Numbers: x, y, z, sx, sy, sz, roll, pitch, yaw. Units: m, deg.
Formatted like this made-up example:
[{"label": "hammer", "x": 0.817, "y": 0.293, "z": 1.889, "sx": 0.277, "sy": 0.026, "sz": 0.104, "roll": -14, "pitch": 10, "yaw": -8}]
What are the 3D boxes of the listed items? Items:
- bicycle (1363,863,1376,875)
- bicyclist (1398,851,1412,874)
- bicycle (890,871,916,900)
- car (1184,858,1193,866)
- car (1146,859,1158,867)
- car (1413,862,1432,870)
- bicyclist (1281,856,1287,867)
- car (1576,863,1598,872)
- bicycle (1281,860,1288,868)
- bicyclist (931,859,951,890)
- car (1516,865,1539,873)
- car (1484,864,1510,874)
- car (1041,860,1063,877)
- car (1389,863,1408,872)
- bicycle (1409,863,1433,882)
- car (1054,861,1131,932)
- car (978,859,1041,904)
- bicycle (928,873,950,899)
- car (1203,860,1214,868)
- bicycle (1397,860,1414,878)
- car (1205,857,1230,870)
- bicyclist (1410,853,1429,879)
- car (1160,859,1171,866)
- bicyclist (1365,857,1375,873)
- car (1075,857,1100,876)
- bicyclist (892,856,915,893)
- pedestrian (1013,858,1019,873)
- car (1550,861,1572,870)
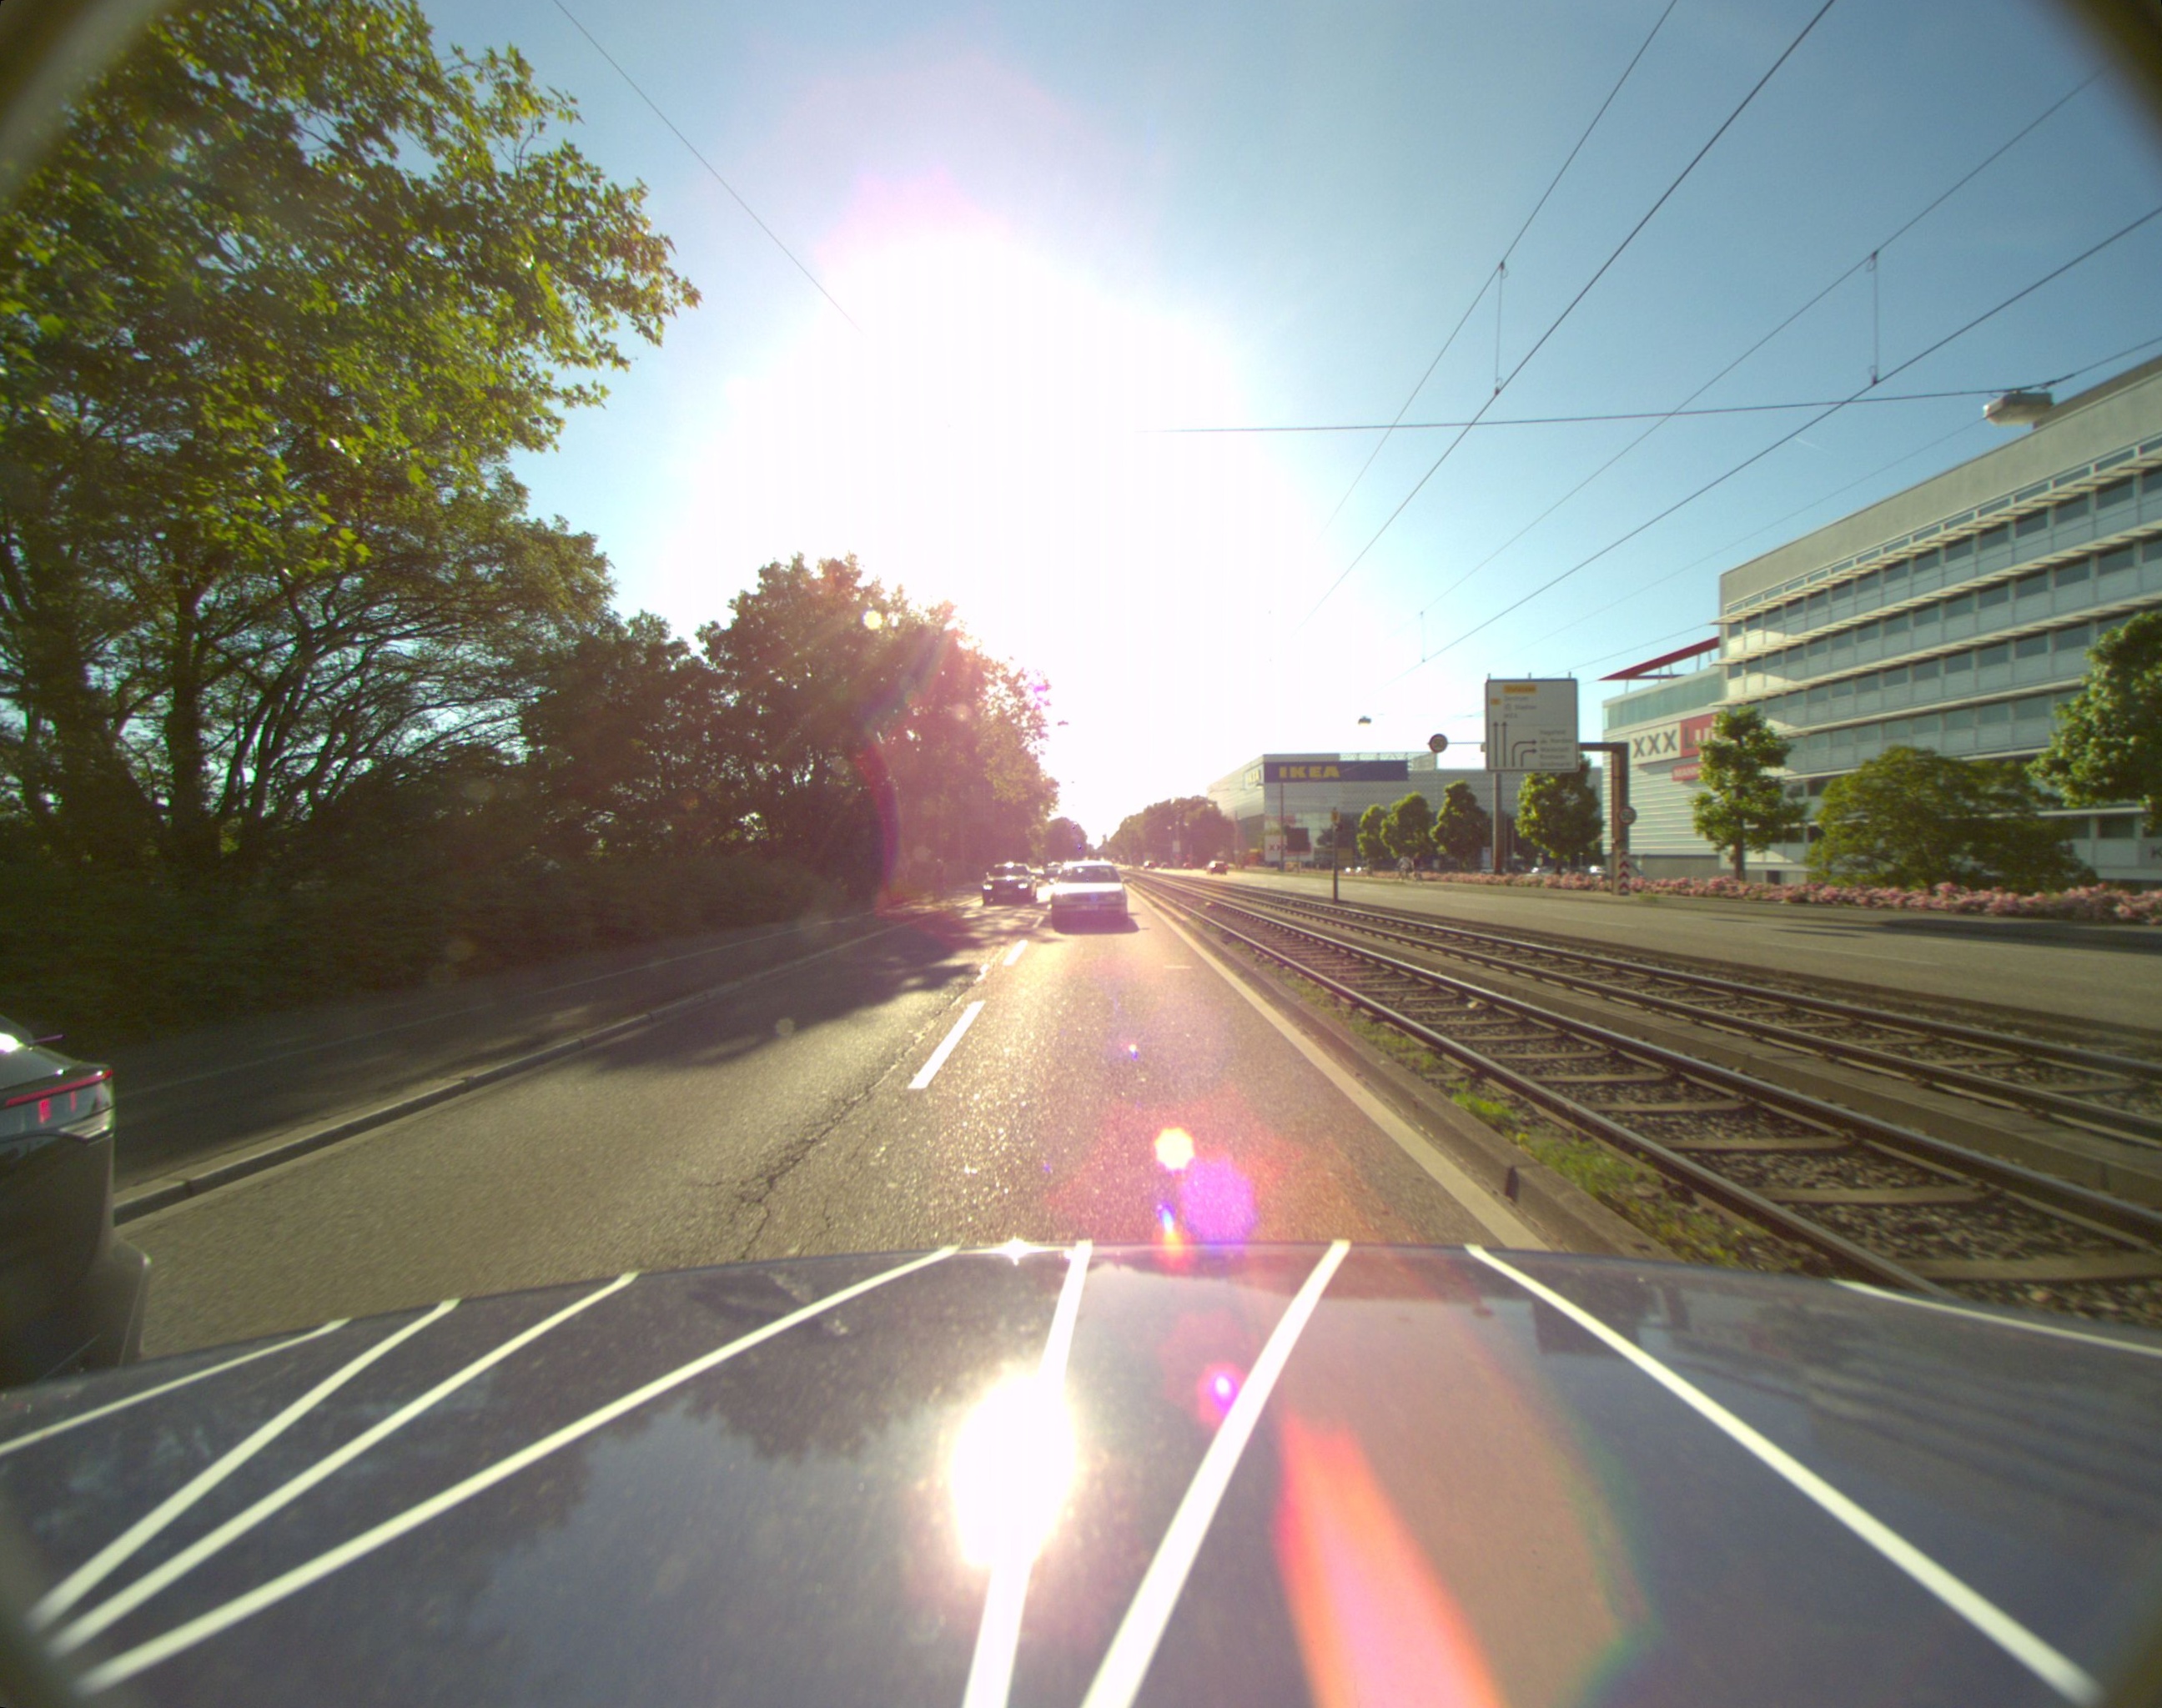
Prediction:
[{"label": "bicycle", "x": 25.165, "y": 1.298, "z": 66.267, "sx": 0.626, "sy": 1.052, "sz": 1.704, "roll": -1, "pitch": 0, "yaw": 5}, {"label": "bicyclist", "x": 23.727, "y": 0.635, "z": 55.614, "sx": 0.604, "sy": 1.649, "sz": 0.963, "roll": -3, "pitch": 0, "yaw": 6}, {"label": "bicycle", "x": -7.172, "y": 1.246, "z": 30.712, "sx": 0.623, "sy": 1.113, "sz": 1.813, "roll": 0, "pitch": 0, "yaw": 0}, {"label": "car", "x": 22.165, "y": 1.662, "z": 156.627, "sx": 1.938, "sy": 1.468, "sz": 4.134, "roll": 1, "pitch": 0, "yaw": 9}, {"label": "car", "x": 14.145, "y": 1.776, "z": 152.003, "sx": 1.998, "sy": 1.645, "sz": 4.659, "roll": 0, "pitch": 0, "yaw": 1}, {"label": "car", "x": 69.888, "y": 2.410, "z": 155.656, "sx": 1.935, "sy": 1.583, "sz": 3.999, "roll": -3, "pitch": 0, "yaw": -3}, {"label": "bicyclist", "x": 29.202, "y": 1.072, "z": 109.145, "sx": 0.662, "sy": 1.614, "sz": 0.802, "roll": -3, "pitch": 0, "yaw": 10}, {"label": "car", "x": 102.011, "y": 2.668, "z": 153.234, "sx": 1.998, "sy": 1.645, "sz": 4.000, "roll": -1, "pitch": 0, "yaw": 1}, {"label": "bicycle", "x": 29.193, "y": 1.415, "z": 108.977, "sx": 0.662, "sy": 1.144, "sz": 2.023, "roll": -3, "pitch": 0, "yaw": 10}, {"label": "bicyclist", "x": -5.715, "y": 0.829, "z": 31.011, "sx": 0.642, "sy": 1.218, "sz": 0.891, "roll": 0, "pitch": 0, "yaw": 0}, {"label": "car", "x": 89.841, "y": 2.967, "z": 153.046, "sx": 1.672, "sy": 1.543, "sz": 4.438, "roll": -3, "pitch": 0, "yaw": -4}, {"label": "car", "x": 82.879, "y": 3.068, "z": 151.405, "sx": 1.830, "sy": 1.789, "sz": 4.219, "roll": -3, "pitch": 0, "yaw": -41}, {"label": "car", "x": -2.533, "y": 1.262, "z": 67.268, "sx": 1.857, "sy": 1.415, "sz": 3.980, "roll": -2, "pitch": 0, "yaw": -1}, {"label": "car", "x": 64.944, "y": 2.693, "z": 155.266, "sx": 1.935, "sy": 1.734, "sz": 3.999, "roll": -3, "pitch": 0, "yaw": -3}, {"label": "bicycle", "x": 20.331, "y": 1.115, "z": 45.454, "sx": 0.706, "sy": 1.067, "sz": 2.028, "roll": -3, "pitch": 0, "yaw": 7}, {"label": "car", "x": 0.272, "y": 0.926, "z": 18.208, "sx": 1.602, "sy": 1.440, "sz": 3.799, "roll": -1, "pitch": 0, "yaw": 1}, {"label": "car", "x": -2.655, "y": 0.989, "z": 29.297, "sx": 1.870, "sy": 1.459, "sz": 4.586, "roll": -2, "pitch": 0, "yaw": 1}, {"label": "bicycle", "x": -5.718, "y": 1.293, "z": 30.710, "sx": 0.566, "sy": 0.968, "sz": 1.788, "roll": 0, "pitch": 0, "yaw": 0}, {"label": "car", "x": 26.099, "y": 1.992, "z": 155.832, "sx": 1.823, "sy": 1.633, "sz": 4.005, "roll": 0, "pitch": 0, "yaw": 15}, {"label": "bicycle", "x": 23.757, "y": 1.075, "z": 55.620, "sx": 0.604, "sy": 1.212, "sz": 1.749, "roll": -3, "pitch": 0, "yaw": 6}, {"label": "car", "x": 16.017, "y": 1.096, "z": 89.398, "sx": 2.044, "sy": 1.494, "sz": 4.887, "roll": -1, "pitch": 0, "yaw": 1}, {"label": "bicyclist", "x": 20.320, "y": 0.701, "z": 45.566, "sx": 0.706, "sy": 1.503, "sz": 0.971, "roll": -3, "pitch": 0, "yaw": 7}, {"label": "car", "x": 17.622, "y": 1.695, "z": 158.583, "sx": 1.861, "sy": 1.452, "sz": 4.137, "roll": -1, "pitch": 0, "yaw": -1}, {"label": "bicyclist", "x": 25.155, "y": 0.940, "z": 66.174, "sx": 0.626, "sy": 1.366, "sz": 0.880, "roll": -1, "pitch": 0, "yaw": 5}, {"label": "car", "x": 0.552, "y": 0.975, "z": 60.817, "sx": 1.871, "sy": 1.422, "sz": 3.831, "roll": -3, "pitch": 0, "yaw": 2}, {"label": "bicyclist", "x": -7.180, "y": 0.828, "z": 30.759, "sx": 0.687, "sy": 1.500, "sz": 0.891, "roll": 0, "pitch": 0, "yaw": 0}, {"label": "pedestrian", "x": -7.510, "y": 1.361, "z": 87.819, "sx": 0.724, "sy": 1.697, "sz": 0.813, "roll": 0, "pitch": 0, "yaw": 0}, {"label": "car", "x": 97.181, "y": 2.348, "z": 153.852, "sx": 1.800, "sy": 1.645, "sz": 4.000, "roll": -1, "pitch": 0, "yaw": 1}]
